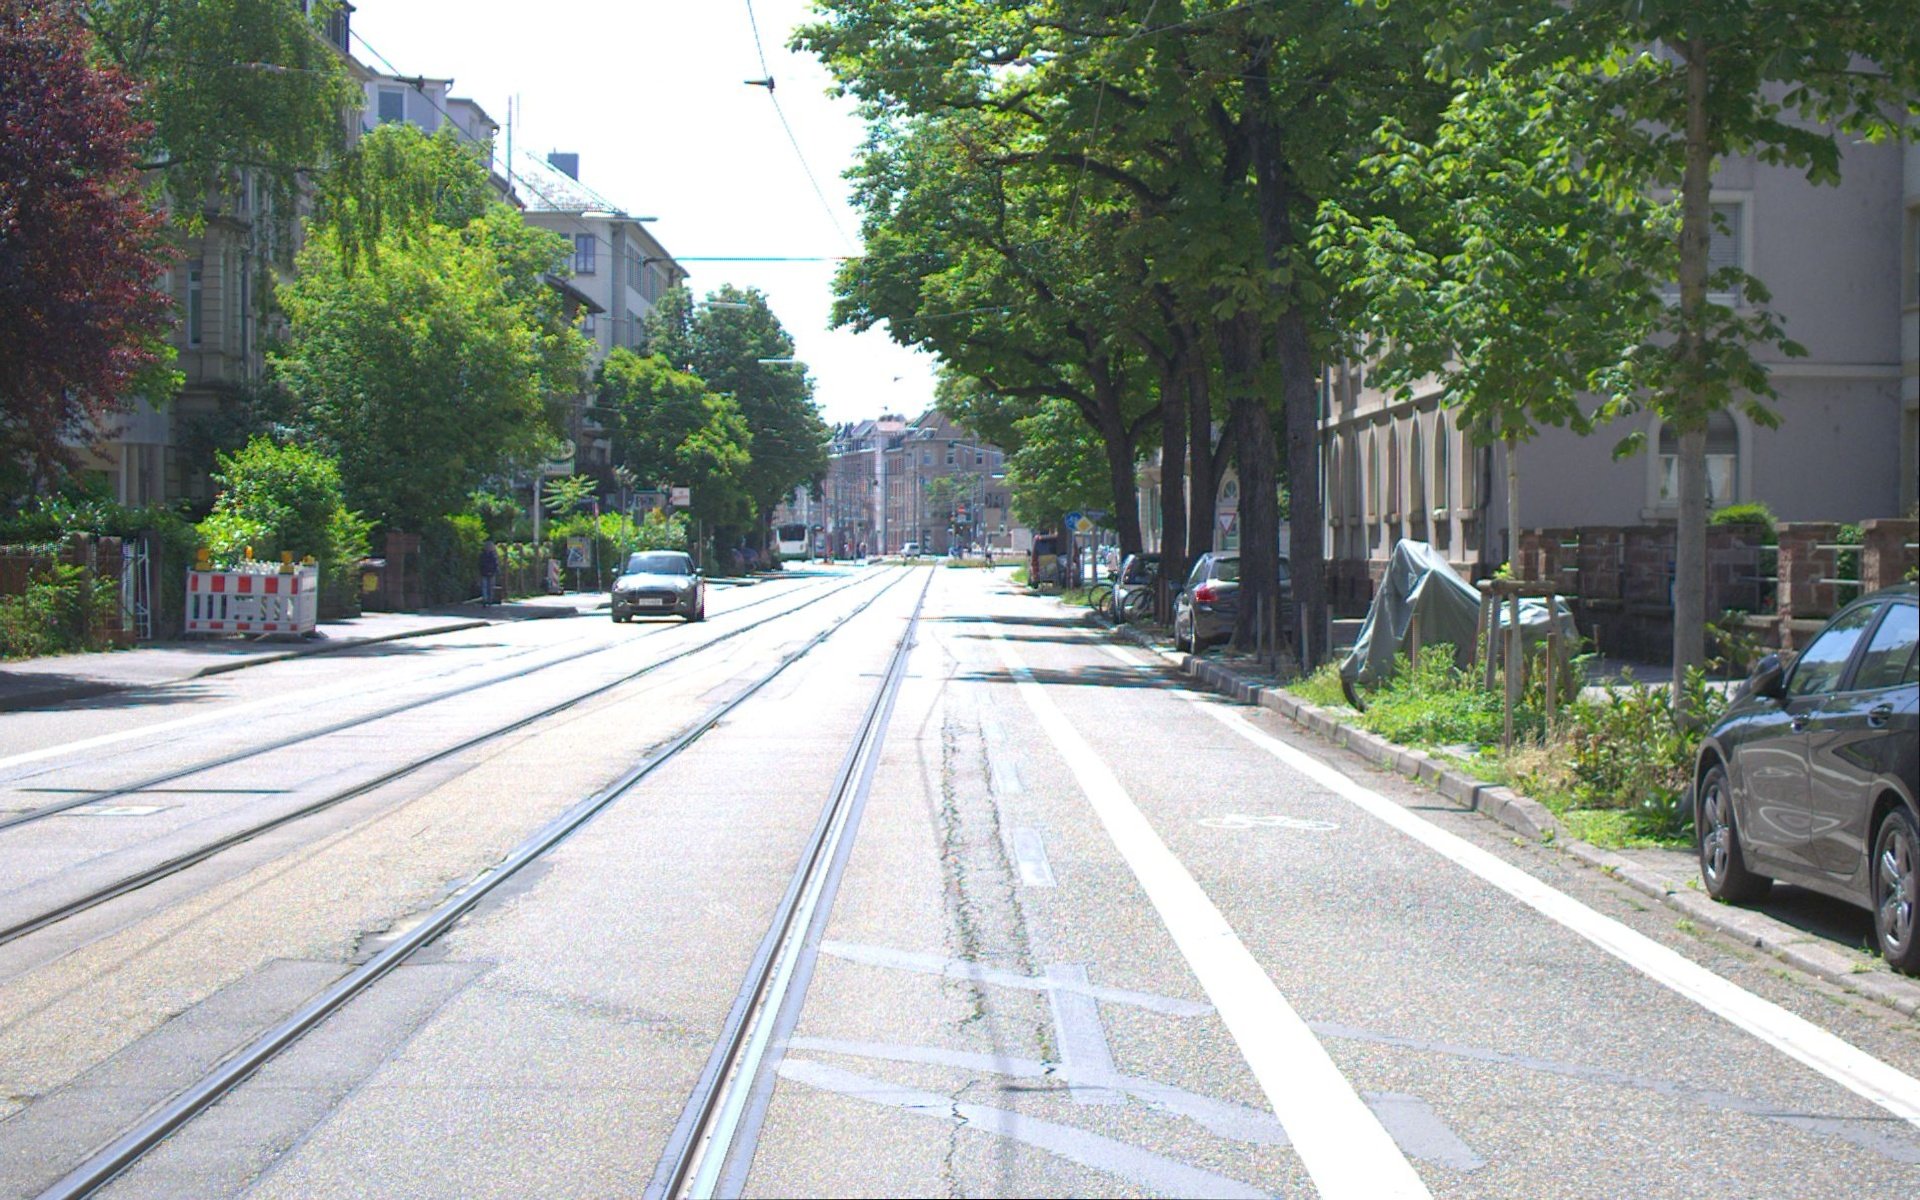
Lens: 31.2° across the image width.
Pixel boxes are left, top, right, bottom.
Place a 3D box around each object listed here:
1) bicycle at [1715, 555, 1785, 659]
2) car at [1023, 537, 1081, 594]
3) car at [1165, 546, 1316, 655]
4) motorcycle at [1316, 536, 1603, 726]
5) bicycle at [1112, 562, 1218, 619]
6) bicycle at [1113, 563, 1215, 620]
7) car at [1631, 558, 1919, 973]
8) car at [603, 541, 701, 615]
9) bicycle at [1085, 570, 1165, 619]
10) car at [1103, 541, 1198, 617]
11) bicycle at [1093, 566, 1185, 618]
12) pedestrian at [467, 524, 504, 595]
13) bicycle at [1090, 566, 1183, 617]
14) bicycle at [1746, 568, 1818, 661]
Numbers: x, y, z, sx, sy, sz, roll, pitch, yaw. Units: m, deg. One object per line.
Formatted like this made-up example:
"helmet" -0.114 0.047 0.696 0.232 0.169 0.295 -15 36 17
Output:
"bicycle" 9.244 0.070 40.275 0.459 1.187 1.564 0 1 0
"car" 3.364 -1.301 126.517 1.993 2.028 4.697 0 1 0
"car" 4.099 -0.030 50.868 1.774 1.496 4.306 -1 1 -1
"motorcycle" 4.252 0.238 29.418 2.319 1.535 0.867 2 1 43
"bicycle" 3.895 -0.177 65.307 1.964 1.059 0.598 1 0 7
"bicycle" 3.857 -0.166 64.931 1.890 1.048 0.538 1 0 7
"car" 4.201 0.575 13.969 1.769 1.422 4.863 0 1 -3
"car" -6.263 -0.473 70.294 1.686 1.449 3.748 1 1 -1
"bicycle" 3.791 -0.133 79.055 1.816 1.109 0.493 0 0 -1
"car" 3.833 -0.429 69.616 1.621 1.443 3.810 -2 0 -1
"bicycle" 3.858 -0.177 74.095 1.963 1.109 0.598 0 0 2
"pedestrian" -11.088 -0.945 80.313 0.750 1.623 0.833 1 1 -2
"bicycle" 3.840 -0.184 74.775 2.010 1.109 0.640 0 0 2
"bicycle" 9.621 0.155 40.281 0.459 1.052 1.564 0 1 0
